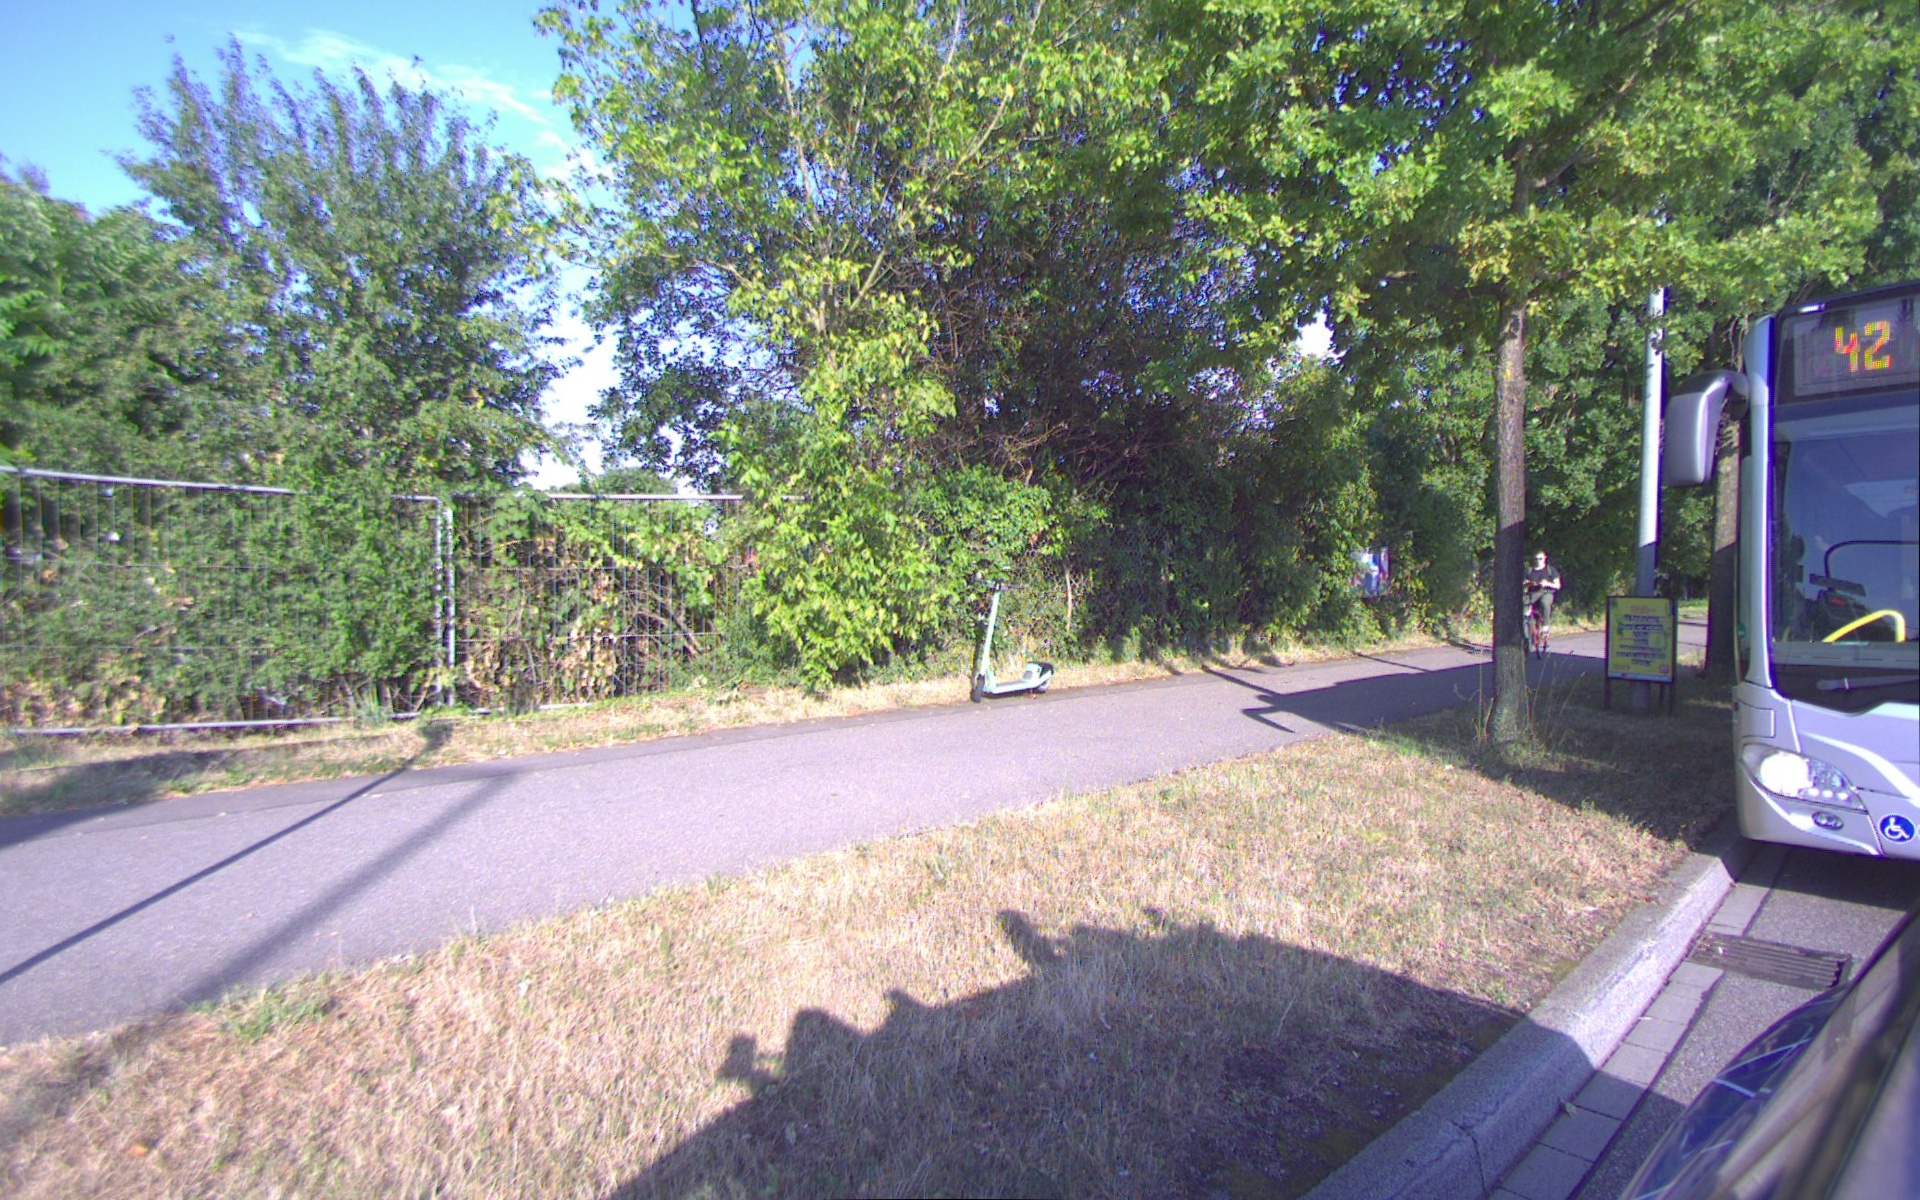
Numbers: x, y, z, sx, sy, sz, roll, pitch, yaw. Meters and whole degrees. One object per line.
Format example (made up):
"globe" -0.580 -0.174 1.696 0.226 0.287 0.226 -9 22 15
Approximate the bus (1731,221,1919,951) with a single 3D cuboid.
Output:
"bus" 8.495 -0.083 7.983 2.588 3.081 11.535 1 1 44

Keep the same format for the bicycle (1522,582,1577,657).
"bicycle" 10.013 0.313 17.165 0.414 1.172 1.863 5 3 40

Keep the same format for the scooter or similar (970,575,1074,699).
"scooter or similar" 0.612 0.342 9.806 1.076 1.139 0.249 0 4 -41

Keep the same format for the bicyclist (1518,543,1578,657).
"bicyclist" 9.940 -0.013 17.106 0.618 1.851 0.818 5 4 40
